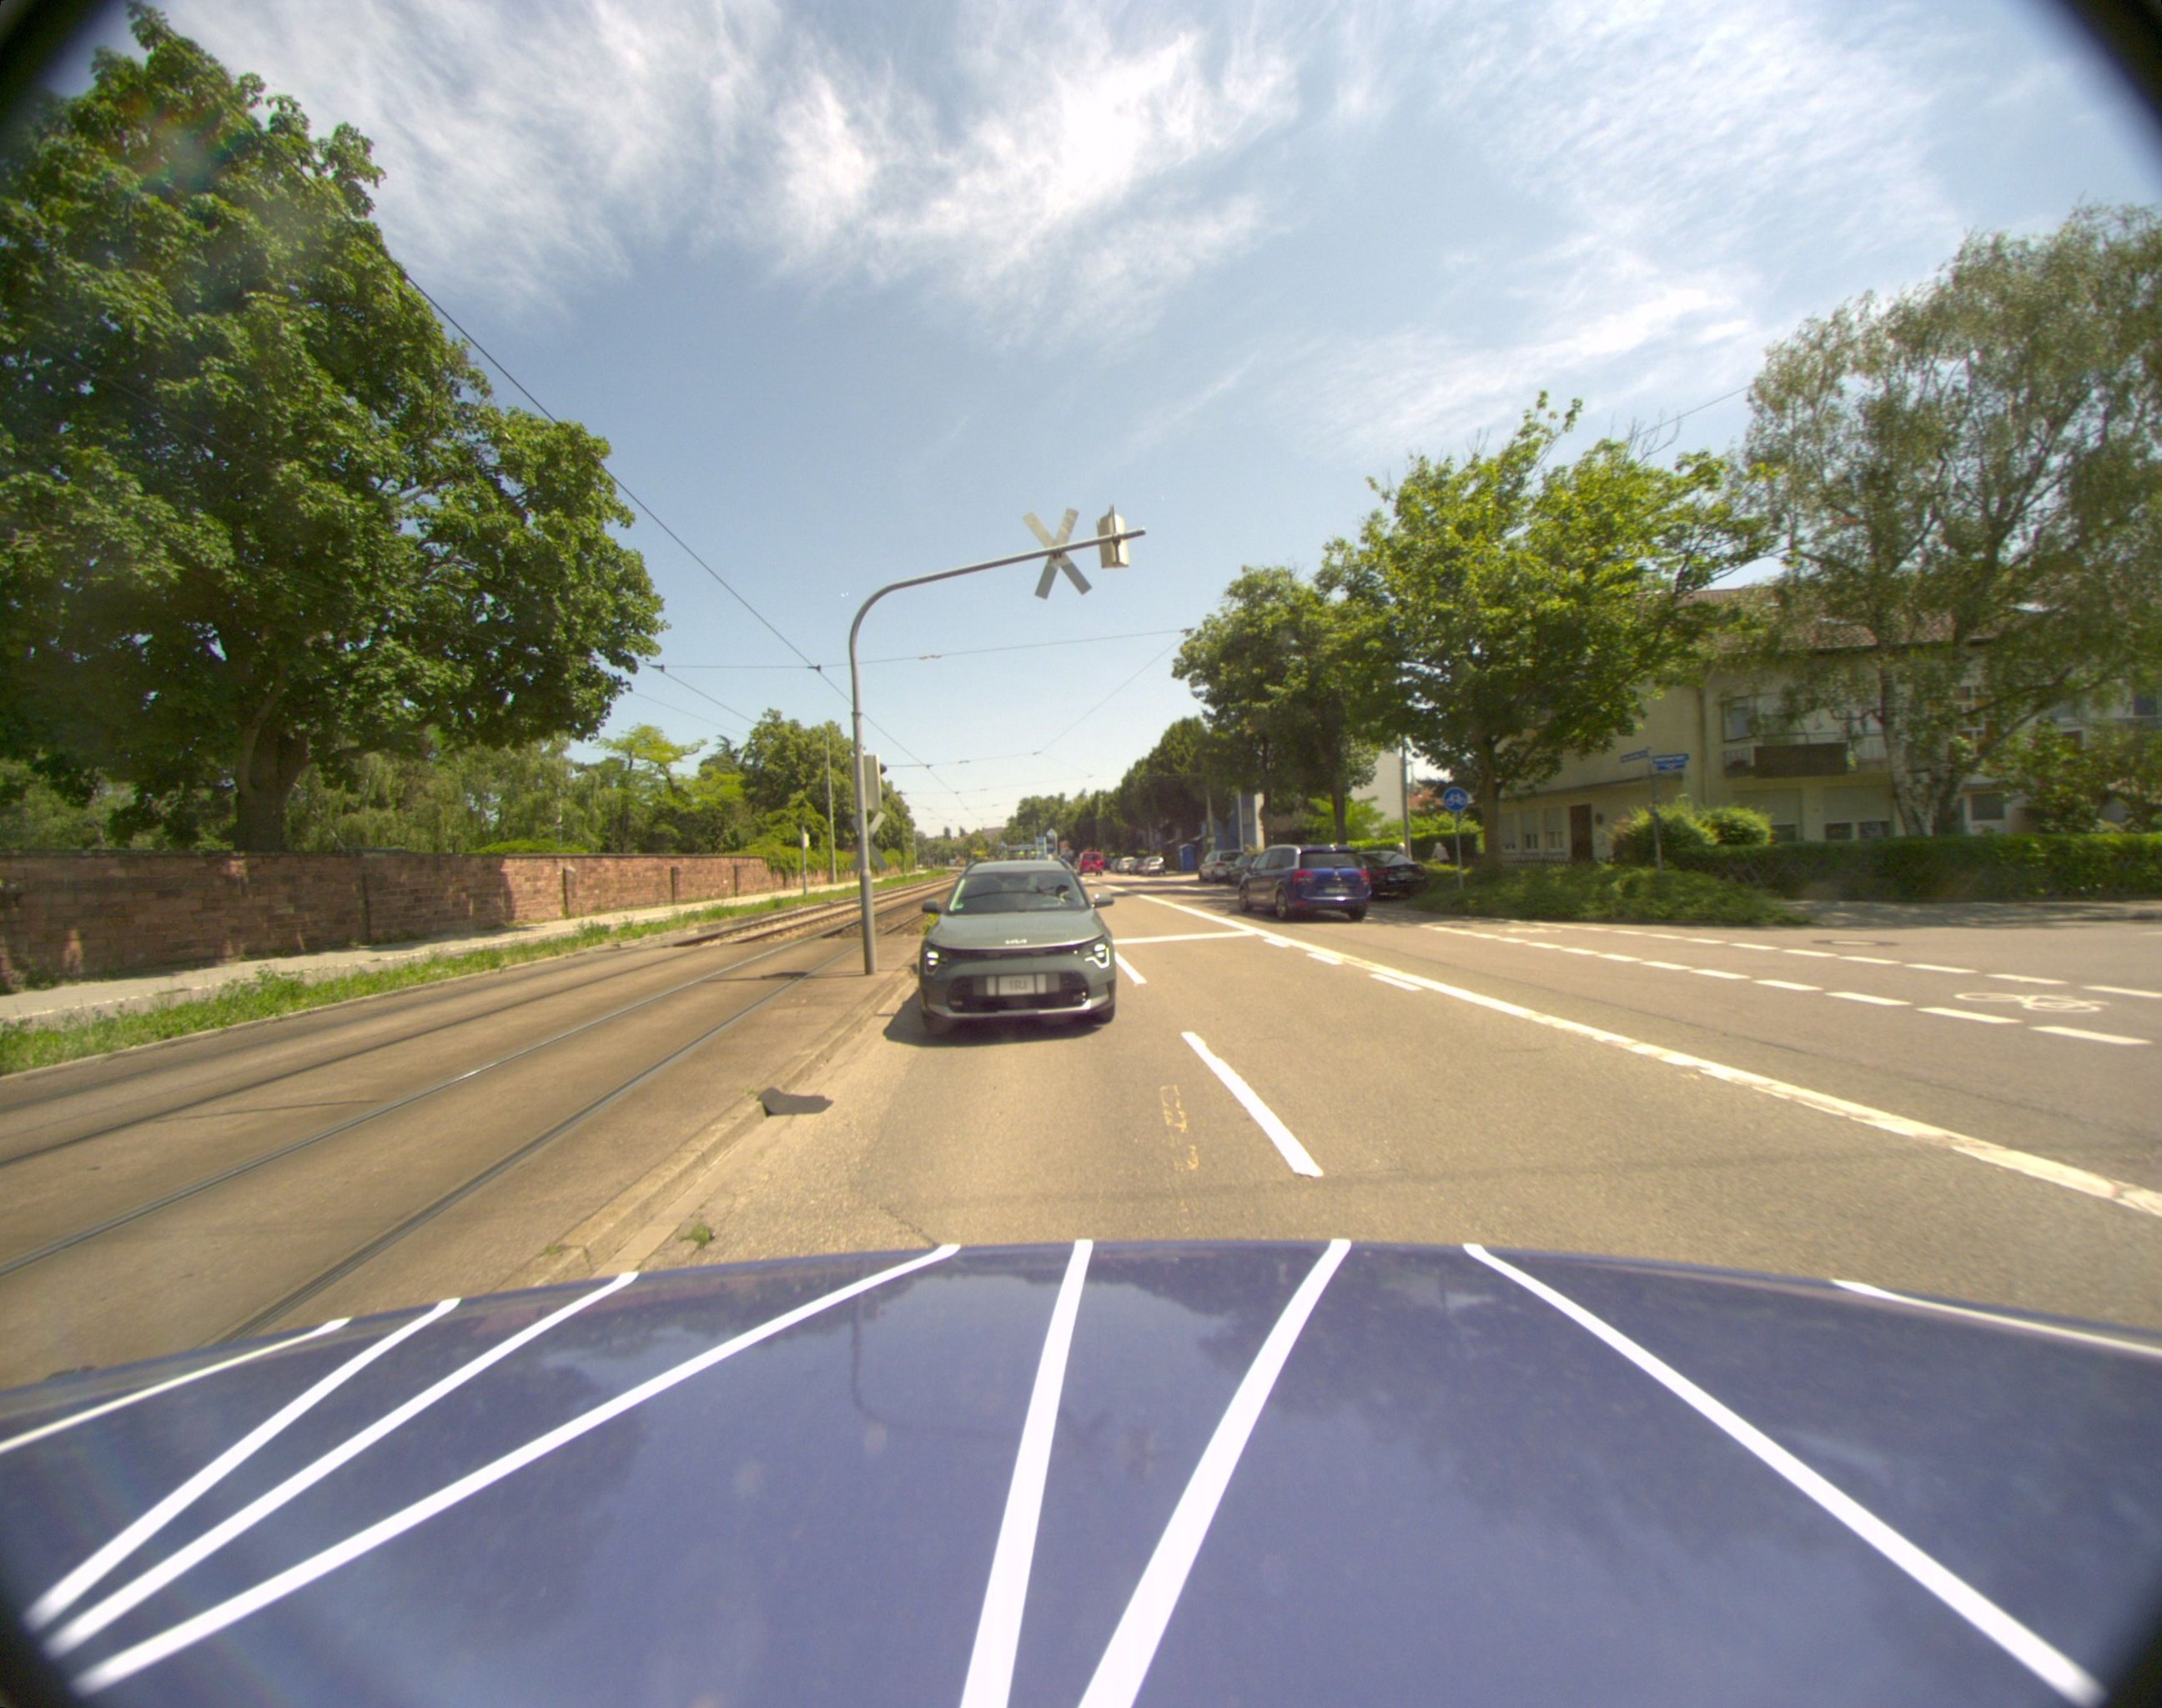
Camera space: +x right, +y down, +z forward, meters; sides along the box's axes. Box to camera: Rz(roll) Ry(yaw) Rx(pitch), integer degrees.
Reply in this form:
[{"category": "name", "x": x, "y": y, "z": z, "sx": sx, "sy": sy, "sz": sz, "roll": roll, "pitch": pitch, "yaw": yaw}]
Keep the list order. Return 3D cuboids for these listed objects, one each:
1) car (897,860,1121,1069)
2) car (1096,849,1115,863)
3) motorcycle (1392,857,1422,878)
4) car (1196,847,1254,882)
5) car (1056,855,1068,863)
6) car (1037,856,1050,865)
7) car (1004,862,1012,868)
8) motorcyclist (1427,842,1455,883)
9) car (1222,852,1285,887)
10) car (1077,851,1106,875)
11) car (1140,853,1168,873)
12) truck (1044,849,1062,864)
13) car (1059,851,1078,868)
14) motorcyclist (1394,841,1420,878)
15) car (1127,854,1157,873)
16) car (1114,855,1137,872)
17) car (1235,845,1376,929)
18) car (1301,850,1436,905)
[{"category": "car", "x": -0.733, "y": 0.927, "z": 8.500, "sx": 1.759, "sy": 1.574, "sz": 4.425, "roll": -3, "pitch": 0, "yaw": -4}, {"category": "car", "x": 3.005, "y": 0.233, "z": 94.745, "sx": 1.657, "sy": 1.487, "sz": 4.080, "roll": -6, "pitch": 1, "yaw": -6}, {"category": "motorcycle", "x": 13.546, "y": 0.544, "z": 31.620, "sx": 0.527, "sy": 0.821, "sz": 1.370, "roll": -5, "pitch": 0, "yaw": -3}, {"category": "car", "x": 7.714, "y": 0.529, "z": 41.174, "sx": 1.976, "sy": 1.679, "sz": 4.686, "roll": -3, "pitch": 0, "yaw": -3}, {"category": "car", "x": -3.442, "y": 0.881, "z": 136.260, "sx": 1.866, "sy": 1.487, "sz": 3.468, "roll": -2, "pitch": 0, "yaw": -6}, {"category": "car", "x": -7.599, "y": 1.346, "z": 153.813, "sx": 1.866, "sy": 1.487, "sz": 3.467, "roll": -6, "pitch": 1, "yaw": -14}, {"category": "car", "x": -19.645, "y": 2.881, "z": 203.930, "sx": 1.866, "sy": 1.487, "sz": 3.468, "roll": -6, "pitch": 1, "yaw": -6}, {"category": "motorcyclist", "x": 13.670, "y": 0.303, "z": 28.861, "sx": 0.588, "sy": 1.494, "sz": 0.662, "roll": -5, "pitch": 1, "yaw": -3}, {"category": "car", "x": 8.063, "y": 0.693, "z": 35.867, "sx": 1.681, "sy": 1.478, "sz": 4.126, "roll": -3, "pitch": 0, "yaw": -5}, {"category": "car", "x": 0.814, "y": 0.720, "z": 64.472, "sx": 1.905, "sy": 1.915, "sz": 4.817, "roll": -1, "pitch": 0, "yaw": -6}, {"category": "car", "x": 6.043, "y": 0.715, "z": 62.992, "sx": 1.506, "sy": 1.487, "sz": 3.280, "roll": -7, "pitch": 1, "yaw": -6}, {"category": "truck", "x": -5.274, "y": 0.446, "z": 142.260, "sx": 2.136, "sy": 2.565, "sz": 4.859, "roll": -6, "pitch": 1, "yaw": -14}, {"category": "car", "x": -1.484, "y": 0.647, "z": 90.274, "sx": 1.924, "sy": 1.899, "sz": 4.569, "roll": -1, "pitch": 0, "yaw": -5}, {"category": "motorcyclist", "x": 13.531, "y": 0.234, "z": 31.554, "sx": 0.588, "sy": 1.494, "sz": 0.725, "roll": -5, "pitch": 1, "yaw": -3}, {"category": "car", "x": 5.417, "y": 0.803, "z": 68.168, "sx": 1.681, "sy": 1.487, "sz": 4.636, "roll": -6, "pitch": 0, "yaw": -6}, {"category": "car", "x": 4.575, "y": 0.968, "z": 77.952, "sx": 1.657, "sy": 1.487, "sz": 3.647, "roll": -6, "pitch": 1, "yaw": -6}, {"category": "car", "x": 4.958, "y": 0.662, "z": 17.386, "sx": 1.742, "sy": 1.647, "sz": 4.065, "roll": -1, "pitch": 0, "yaw": -5}, {"category": "car", "x": 8.840, "y": 0.684, "z": 23.924, "sx": 1.900, "sy": 1.448, "sz": 4.807, "roll": -3, "pitch": 0, "yaw": -7}]
